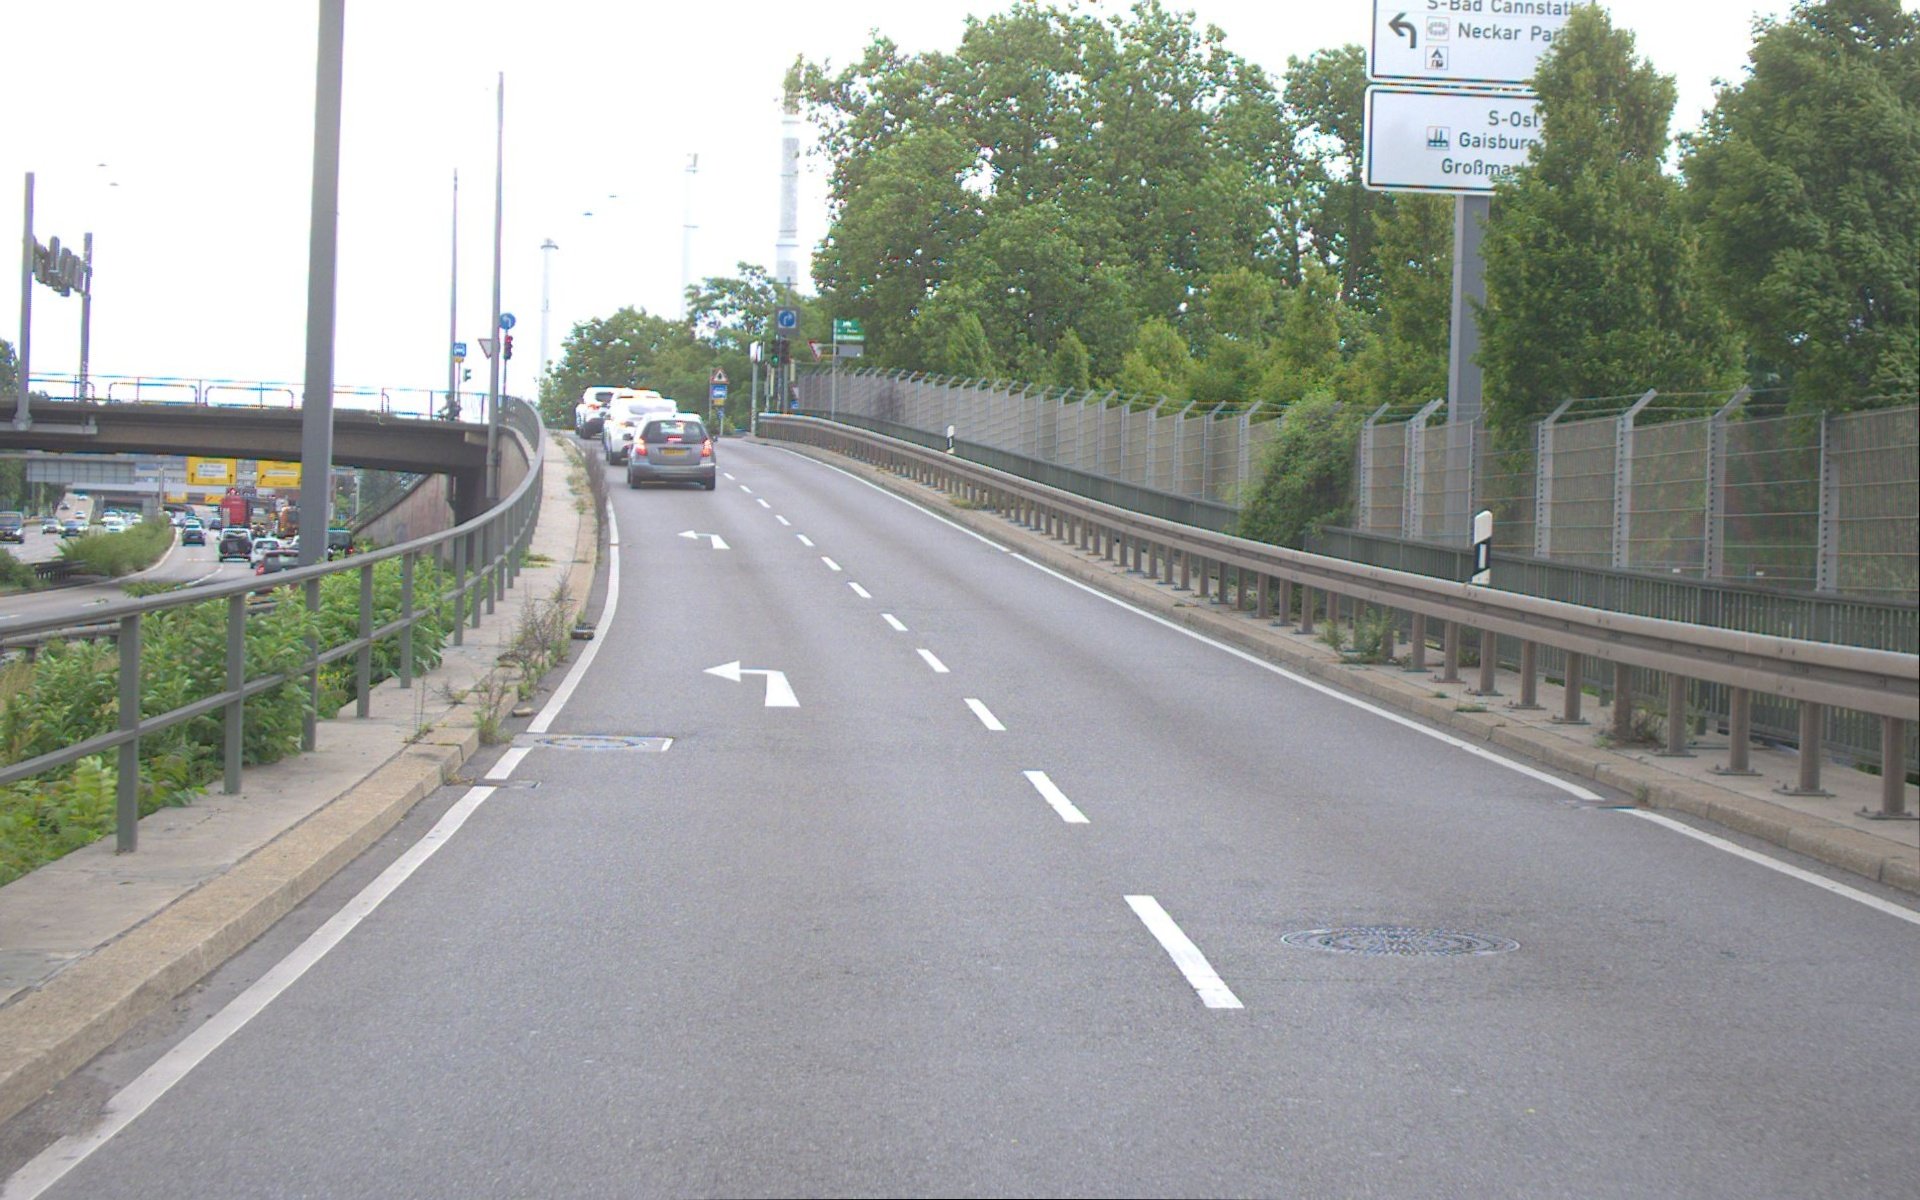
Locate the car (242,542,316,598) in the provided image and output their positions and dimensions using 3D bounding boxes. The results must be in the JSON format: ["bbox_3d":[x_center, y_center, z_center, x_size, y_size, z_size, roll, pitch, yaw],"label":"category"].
[{"bbox_3d":[-19.643,-0.869,99.295,1.993,1.415,4.002,2,2,-10],"label":"car"}]

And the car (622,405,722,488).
[{"bbox_3d":[-6.050,-3.216,72.568,1.750,1.575,4.085,2,1,0],"label":"car"}]

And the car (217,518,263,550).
[{"bbox_3d":[-41.140,-3.758,196.449,1.993,1.678,4.001,2,2,-4],"label":"car"}]

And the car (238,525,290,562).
[{"bbox_3d":[-35.055,-2.866,173.219,1.993,1.678,4.001,2,2,-4],"label":"car"}]

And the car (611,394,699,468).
[{"bbox_3d":[-7.472,-4.146,83.930,1.993,1.597,4.002,0,5,-7],"label":"car"}]
